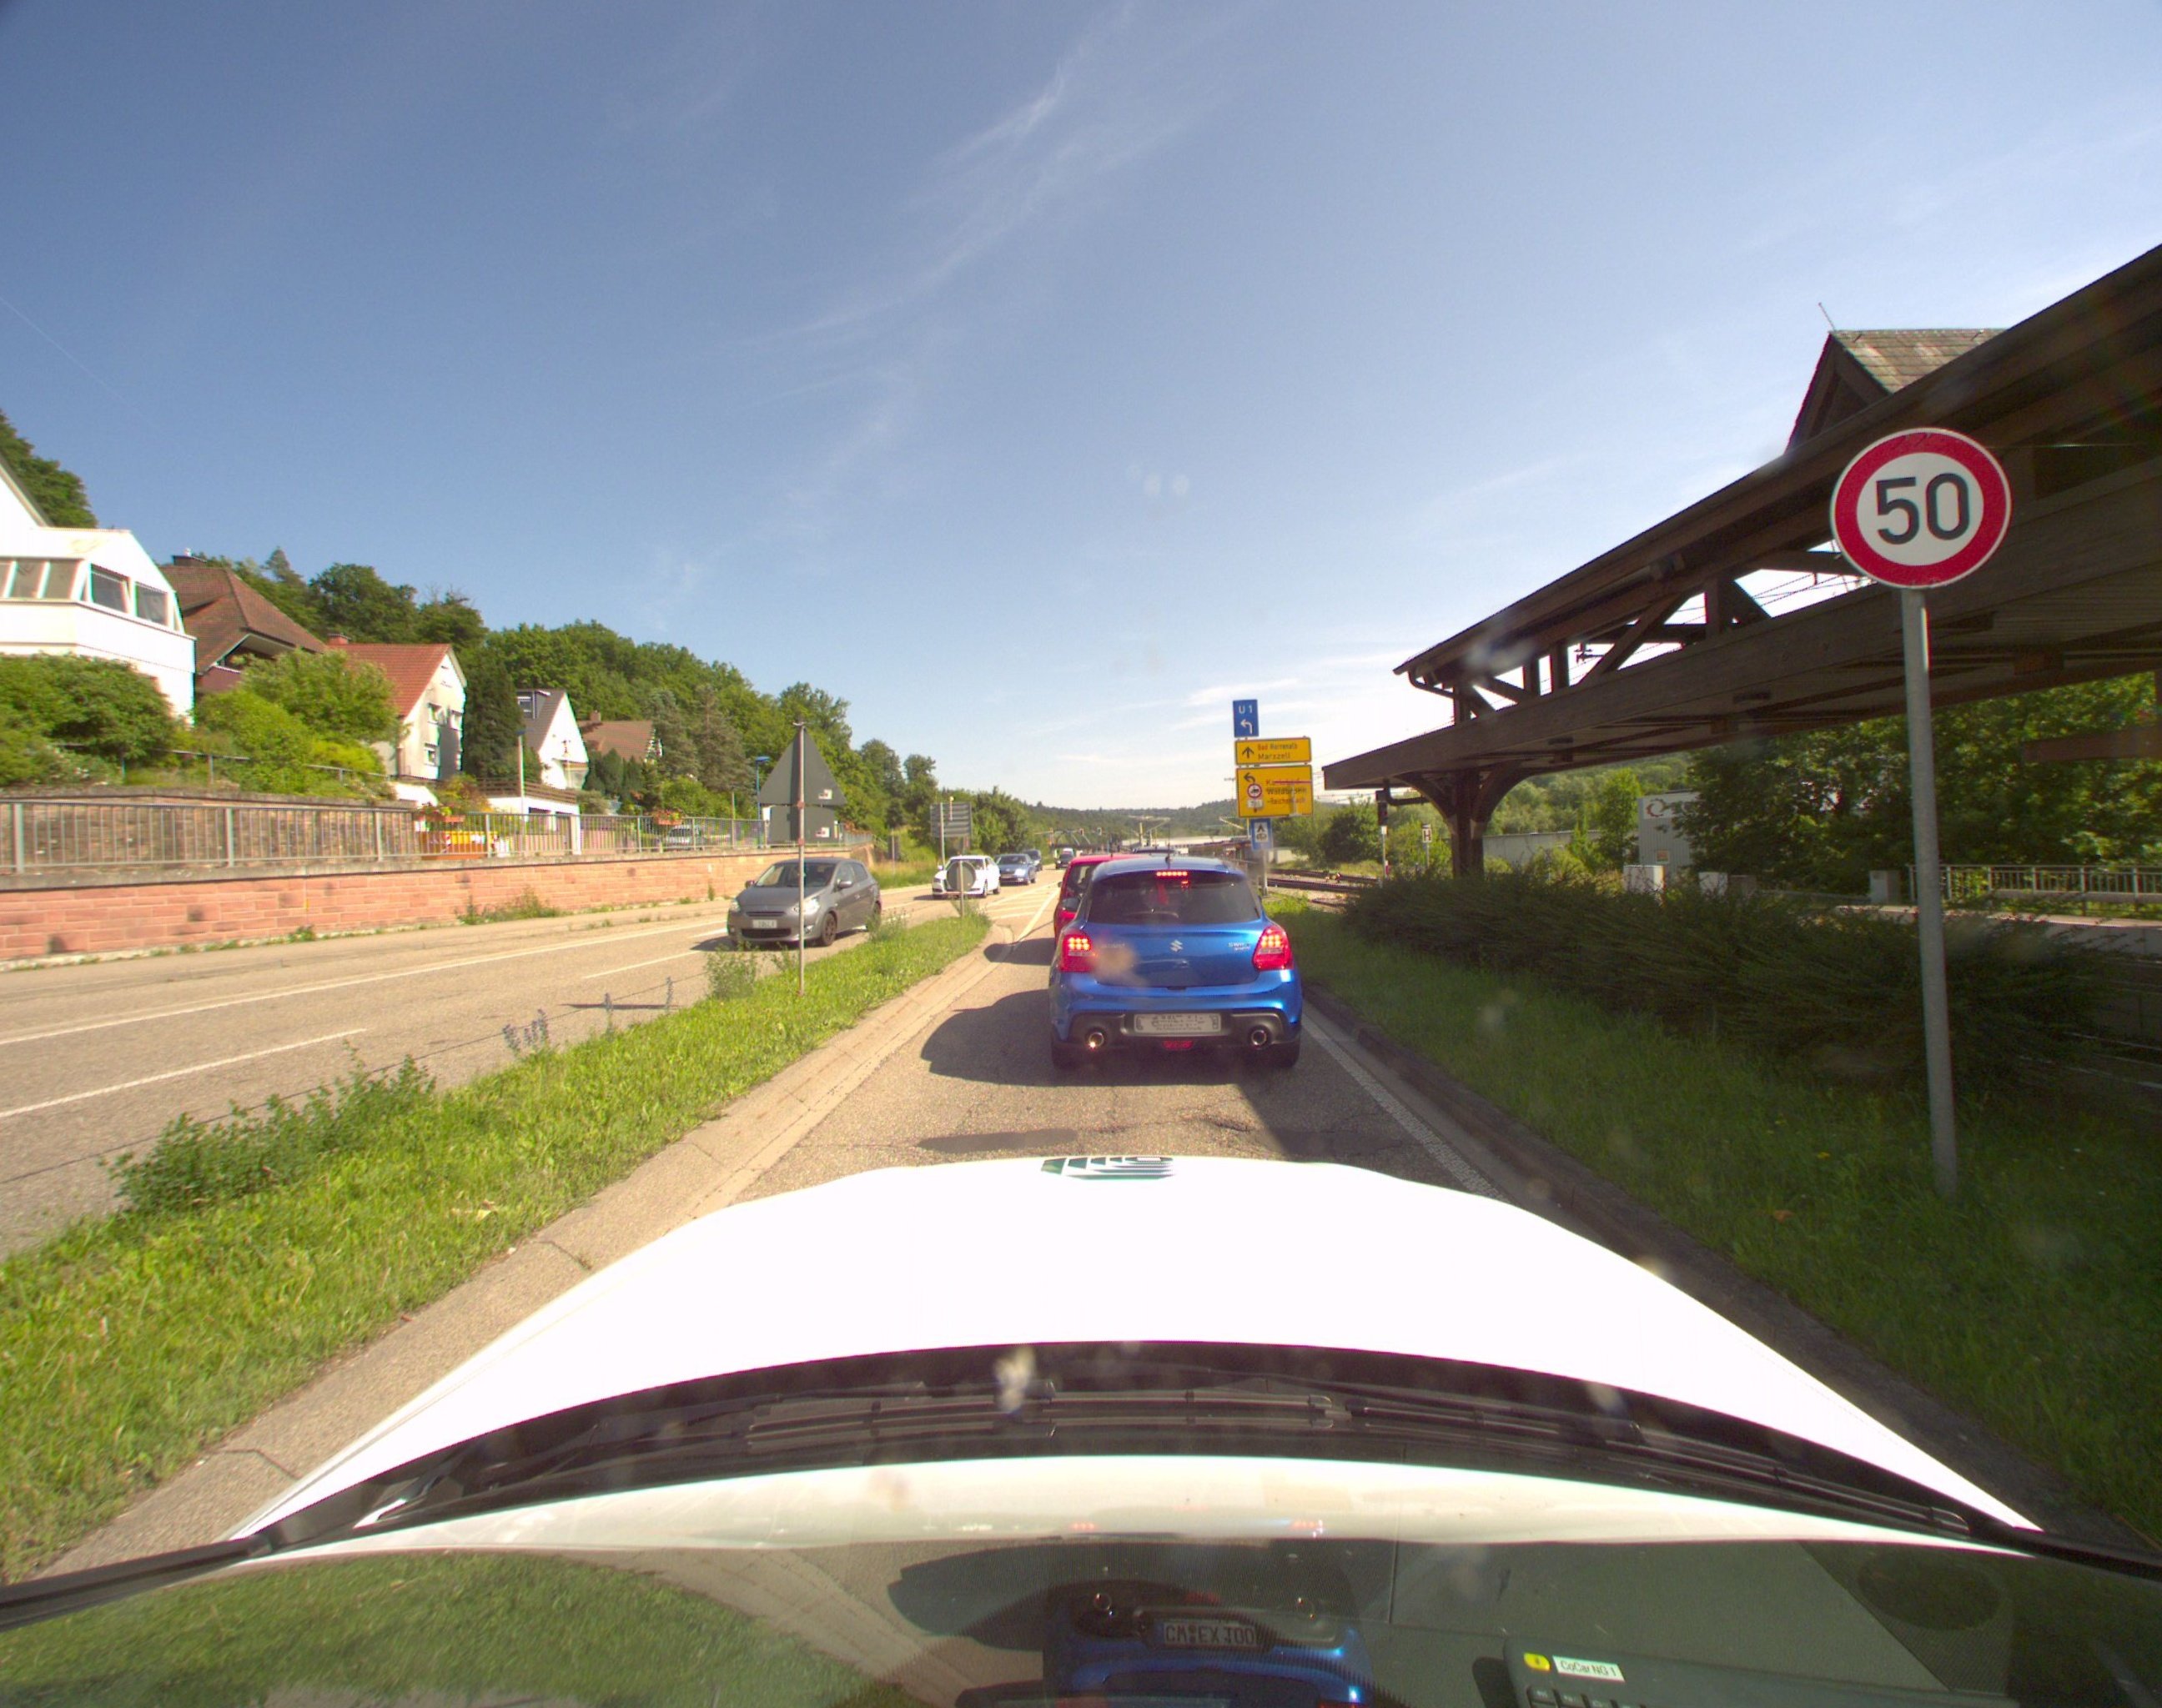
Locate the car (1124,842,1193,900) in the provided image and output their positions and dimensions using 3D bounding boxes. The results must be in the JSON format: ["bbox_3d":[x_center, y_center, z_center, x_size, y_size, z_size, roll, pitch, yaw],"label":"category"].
[{"bbox_3d":[2.397,0.473,26.066,1.985,1.686,4.501,1,0,3],"label":"car"}]

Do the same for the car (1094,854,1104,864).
[{"bbox_3d":[3.669,1.041,168.945,1.986,2.013,4.002,0,1,2],"label":"car"}]

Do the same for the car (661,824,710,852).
[{"bbox_3d":[-24.471,-0.981,50.481,1.898,1.629,3.981,-1,0,-14],"label":"car"}]

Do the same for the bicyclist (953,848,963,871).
[{"bbox_3d":[-8.320,0.365,55.228,0.627,1.507,0.506,0,1,-2],"label":"bicyclist"}]

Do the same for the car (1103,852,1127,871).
[{"bbox_3d":[2.844,0.584,67.586,1.824,1.431,3.815,1,1,4],"label":"car"}]

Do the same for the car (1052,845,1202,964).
[{"bbox_3d":[0.732,0.669,12.810,1.985,1.571,4.004,0,0,3],"label":"car"}]

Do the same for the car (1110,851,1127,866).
[{"bbox_3d":[4.116,0.485,88.968,1.824,1.493,3.815,1,1,4],"label":"car"}]

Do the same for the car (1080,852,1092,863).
[{"bbox_3d":[0.948,0.612,140.383,1.986,1.783,4.002,0,0,2],"label":"car"}]

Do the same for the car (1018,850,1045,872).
[{"bbox_3d":[-4.141,0.548,68.392,1.825,1.713,3.814,1,1,3],"label":"car"}]

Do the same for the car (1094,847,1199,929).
[{"bbox_3d":[1.401,0.641,18.066,1.985,1.531,4.606,-2,0,3],"label":"car"}]

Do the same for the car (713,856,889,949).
[{"bbox_3d":[-4.859,0.764,14.731,1.665,1.441,3.843,-1,0,3],"label":"car"}]

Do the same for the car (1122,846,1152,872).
[{"bbox_3d":[3.875,0.331,56.437,1.985,1.736,4.004,1,0,3],"label":"car"}]

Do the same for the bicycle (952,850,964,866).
[{"bbox_3d":[-8.334,0.260,55.226,0.564,1.043,1.551,0,1,-1],"label":"bicycle"}]

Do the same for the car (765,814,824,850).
[{"bbox_3d":[-16.112,-1.244,46.108,2.017,1.920,4.724,0,1,-5],"label":"car"}]

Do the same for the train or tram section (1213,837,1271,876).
[{"bbox_3d":[15.369,0.224,79.014,2.846,3.365,14.353,-1,0,0],"label":"train or tram section"}]

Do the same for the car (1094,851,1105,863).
[{"bbox_3d":[3.359,0.577,146.546,1.986,2.013,4.002,0,1,2],"label":"car"}]

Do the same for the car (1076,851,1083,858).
[{"bbox_3d":[-0.399,0.198,242.686,1.986,2.144,4.722,0,0,2],"label":"car"}]

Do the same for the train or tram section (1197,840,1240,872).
[{"bbox_3d":[15.381,0.230,92.053,2.777,3.364,12.045,0,0,0],"label":"train or tram section"}]

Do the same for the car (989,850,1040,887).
[{"bbox_3d":[-3.049,0.651,37.998,1.825,1.468,3.815,1,2,3],"label":"car"}]

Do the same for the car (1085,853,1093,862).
[{"bbox_3d":[1.942,0.735,196.407,1.986,2.013,4.002,0,1,2],"label":"car"}]

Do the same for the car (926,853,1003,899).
[{"bbox_3d":[-3.904,0.703,27.890,1.825,1.369,3.953,0,1,3],"label":"car"}]

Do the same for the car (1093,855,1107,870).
[{"bbox_3d":[2.805,1.275,120.969,1.986,2.013,4.002,0,1,2],"label":"car"}]

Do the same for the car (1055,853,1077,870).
[{"bbox_3d":[-1.372,0.639,74.665,1.826,1.431,3.812,0,1,1],"label":"car"}]

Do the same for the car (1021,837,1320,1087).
[{"bbox_3d":[0.606,0.674,7.139,1.862,1.548,4.001,-1,0,1],"label":"car"}]

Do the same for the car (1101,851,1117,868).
[{"bbox_3d":[3.599,0.651,103.421,1.986,2.013,4.002,0,1,2],"label":"car"}]

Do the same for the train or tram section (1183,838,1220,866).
[{"bbox_3d":[15.247,-0.155,103.964,2.748,3.364,12.042,0,0,-1],"label":"train or tram section"}]
